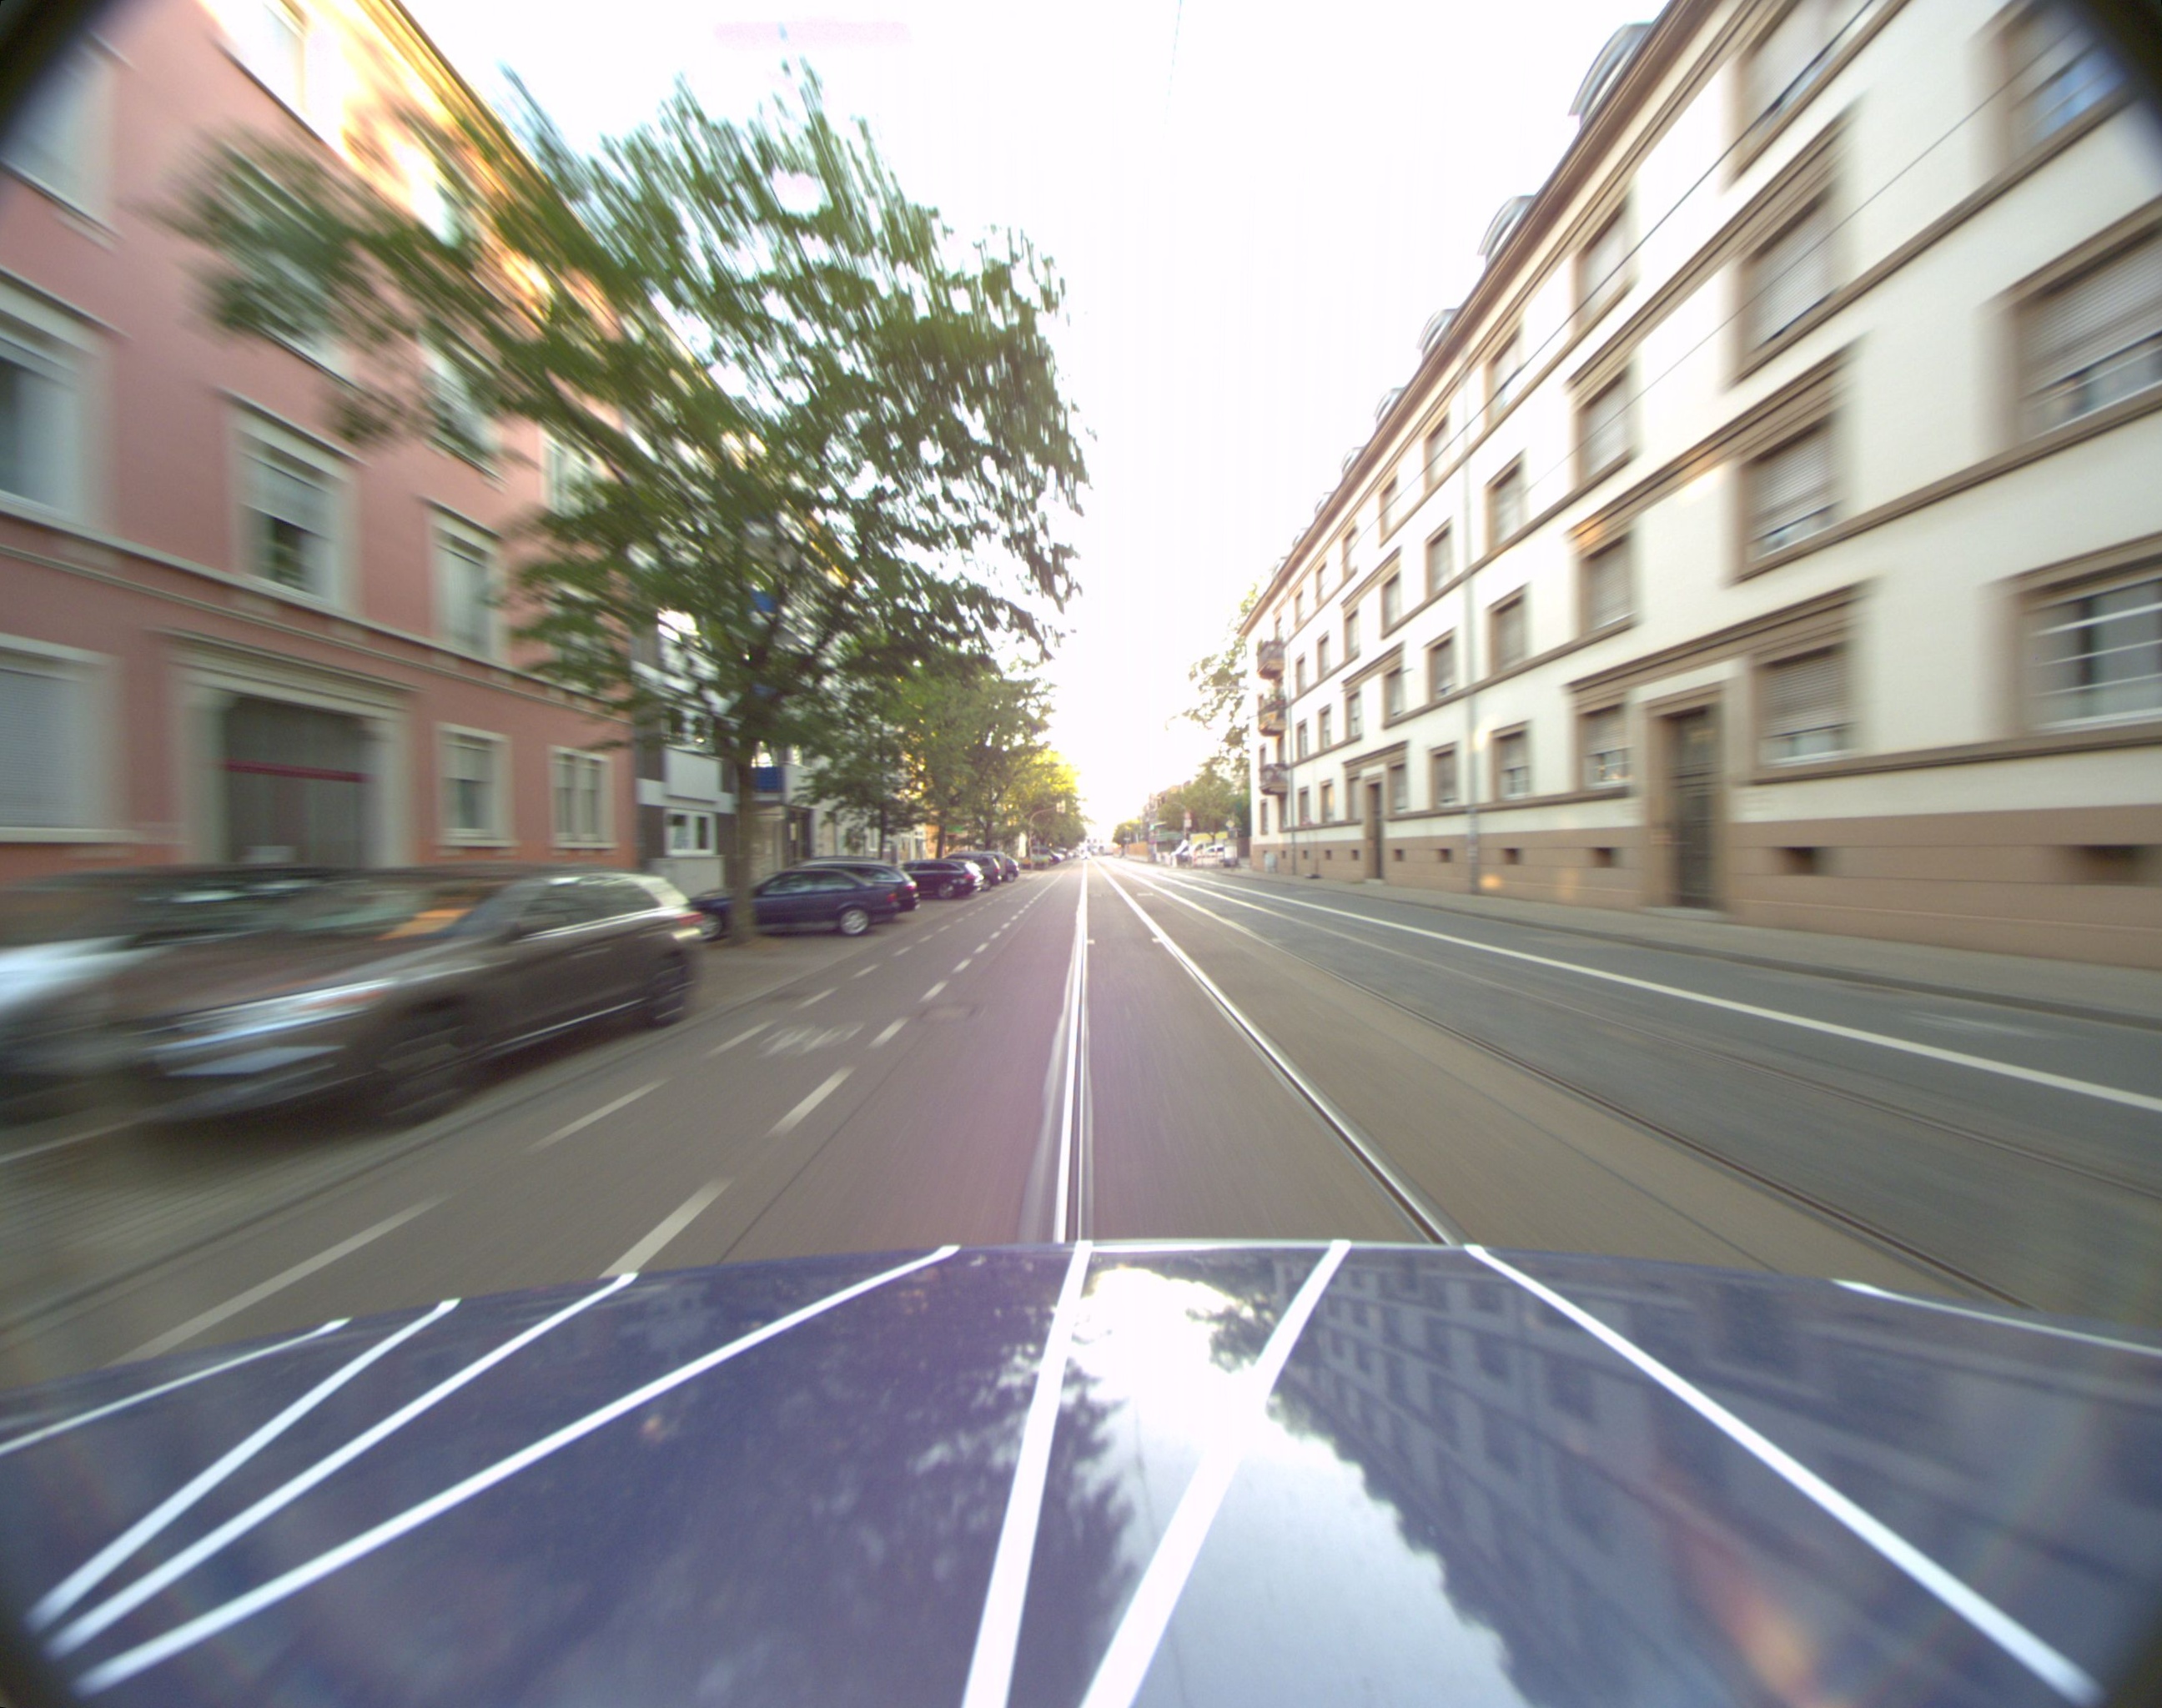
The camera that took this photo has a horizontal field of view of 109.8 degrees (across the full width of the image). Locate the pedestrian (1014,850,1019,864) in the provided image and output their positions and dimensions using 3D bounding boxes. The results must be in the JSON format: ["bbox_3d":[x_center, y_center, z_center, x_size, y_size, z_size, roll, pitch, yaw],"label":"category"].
[{"bbox_3d":[-7.607,0.347,89.253,0.498,1.742,0.646,0,1,5],"label":"pedestrian"}]

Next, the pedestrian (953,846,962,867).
[{"bbox_3d":[-10.719,0.252,66.022,0.558,1.821,0.613,-1,-2,37],"label":"pedestrian"}]

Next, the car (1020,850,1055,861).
[{"bbox_3d":[-5.553,0.173,97.232,4.121,1.444,1.808,0,-1,-15],"label":"car"}]

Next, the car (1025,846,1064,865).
[{"bbox_3d":[-5.137,0.160,107.294,5.236,2.605,1.925,0,0,-16],"label":"car"}]

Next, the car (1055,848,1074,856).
[{"bbox_3d":[-3.704,-0.425,171.188,3.997,1.952,1.720,0,-1,-14],"label":"car"}]

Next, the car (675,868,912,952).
[{"bbox_3d":[-5.772,1.054,15.455,4.268,1.380,1.617,-2,1,-25],"label":"car"}]

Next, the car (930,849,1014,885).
[{"bbox_3d":[-5.619,0.647,39.168,4.004,1.805,1.821,0,0,-21],"label":"car"}]

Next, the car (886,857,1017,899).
[{"bbox_3d":[-4.650,0.848,27.614,4.386,1.455,1.720,0,0,5],"label":"car"}]

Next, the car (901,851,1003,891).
[{"bbox_3d":[-5.743,0.736,33.759,4.197,1.686,1.843,0,0,-22],"label":"car"}]

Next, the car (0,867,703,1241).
[{"bbox_3d":[-4.921,0.967,5.687,1.884,1.608,4.263,1,0,3],"label":"car"}]

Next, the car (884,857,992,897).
[{"bbox_3d":[-5.648,0.863,29.946,4.003,1.455,1.717,0,0,-17],"label":"car"}]

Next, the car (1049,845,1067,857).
[{"bbox_3d":[-5.103,-0.711,167.893,3.992,2.551,1.722,0,0,1],"label":"car"}]

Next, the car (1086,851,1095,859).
[{"bbox_3d":[2.067,0.252,166.211,1.998,1.674,4.000,-2,0,1],"label":"car"}]

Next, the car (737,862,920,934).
[{"bbox_3d":[-5.953,0.982,18.211,3.977,1.544,1.717,0,0,-17],"label":"car"}]

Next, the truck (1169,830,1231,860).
[{"bbox_3d":[14.679,-1.094,94.128,7.077,3.408,2.565,-2,0,-3],"label":"truck"}]

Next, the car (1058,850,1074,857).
[{"bbox_3d":[-3.962,-0.202,196.578,3.992,1.681,1.722,0,-1,1],"label":"car"}]

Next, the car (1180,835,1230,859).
[{"bbox_3d":[14.376,-0.782,88.201,5.233,2.582,2.229,-2,0,-3],"label":"car"}]

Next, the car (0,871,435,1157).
[{"bbox_3d":[-7.316,0.988,5.551,1.885,1.575,4.019,-1,0,-4],"label":"car"}]

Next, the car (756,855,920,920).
[{"bbox_3d":[-6.469,0.848,20.353,4.004,1.584,1.717,0,-1,-21],"label":"car"}]

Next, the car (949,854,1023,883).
[{"bbox_3d":[-5.581,0.847,44.706,4.003,1.531,1.776,-2,0,-19],"label":"car"}]

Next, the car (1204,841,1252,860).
[{"bbox_3d":[15.916,-0.367,82.458,4.844,1.862,2.015,-2,0,2],"label":"car"}]

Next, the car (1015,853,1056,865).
[{"bbox_3d":[-5.652,0.623,94.286,4.643,1.508,1.807,0,-1,-26],"label":"car"}]
